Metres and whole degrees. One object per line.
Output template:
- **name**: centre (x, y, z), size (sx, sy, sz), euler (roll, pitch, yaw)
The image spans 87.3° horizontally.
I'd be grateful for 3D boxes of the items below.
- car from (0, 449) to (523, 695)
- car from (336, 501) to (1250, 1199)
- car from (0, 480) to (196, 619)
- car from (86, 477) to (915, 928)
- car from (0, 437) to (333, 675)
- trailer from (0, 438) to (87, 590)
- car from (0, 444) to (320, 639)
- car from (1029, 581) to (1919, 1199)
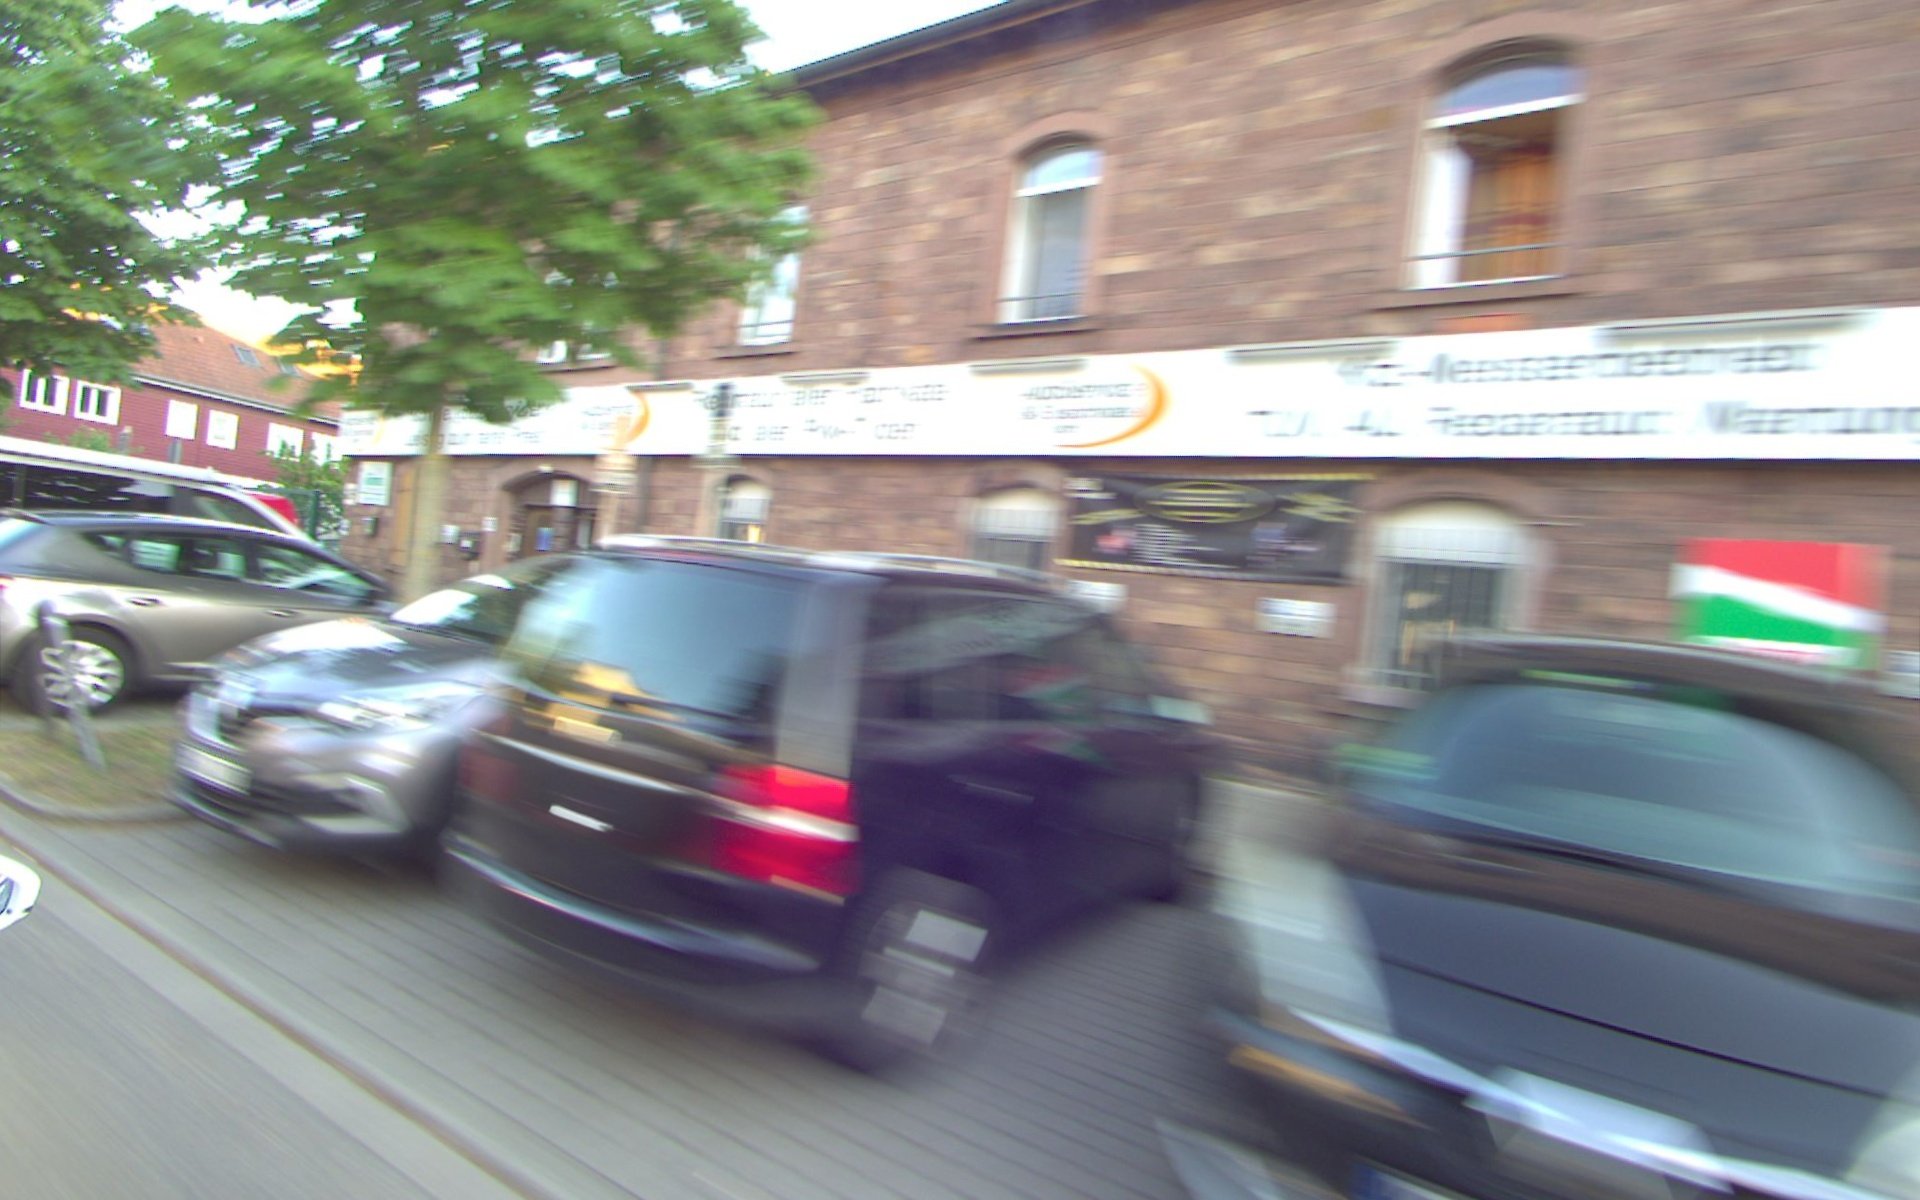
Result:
- **car**: centre (-6.012, -0.122, 8.329), size (1.747, 1.527, 3.993), euler (6, -2, 32)
- **car**: centre (-0.235, 0.644, 4.610), size (1.864, 1.640, 3.988), euler (6, 1, 32)
- **car**: centre (-12.361, -0.771, 12.262), size (1.744, 1.516, 4.434), euler (6, -2, 32)
- **car**: centre (-2.129, 0.488, 5.820), size (1.790, 1.583, 3.954), euler (6, -2, 29)
- **car**: centre (-8.595, -0.431, 9.446), size (1.967, 1.926, 3.993), euler (6, -2, 32)
- **trailer**: centre (-16.006, -1.525, 14.993), size (1.967, 2.213, 3.993), euler (6, -2, 32)
- **car**: centre (-10.219, -0.691, 11.567), size (1.873, 1.820, 4.307), euler (6, -2, 32)
- **car**: centre (2.174, 0.920, 3.478), size (1.949, 1.596, 4.414), euler (7, 2, 32)
